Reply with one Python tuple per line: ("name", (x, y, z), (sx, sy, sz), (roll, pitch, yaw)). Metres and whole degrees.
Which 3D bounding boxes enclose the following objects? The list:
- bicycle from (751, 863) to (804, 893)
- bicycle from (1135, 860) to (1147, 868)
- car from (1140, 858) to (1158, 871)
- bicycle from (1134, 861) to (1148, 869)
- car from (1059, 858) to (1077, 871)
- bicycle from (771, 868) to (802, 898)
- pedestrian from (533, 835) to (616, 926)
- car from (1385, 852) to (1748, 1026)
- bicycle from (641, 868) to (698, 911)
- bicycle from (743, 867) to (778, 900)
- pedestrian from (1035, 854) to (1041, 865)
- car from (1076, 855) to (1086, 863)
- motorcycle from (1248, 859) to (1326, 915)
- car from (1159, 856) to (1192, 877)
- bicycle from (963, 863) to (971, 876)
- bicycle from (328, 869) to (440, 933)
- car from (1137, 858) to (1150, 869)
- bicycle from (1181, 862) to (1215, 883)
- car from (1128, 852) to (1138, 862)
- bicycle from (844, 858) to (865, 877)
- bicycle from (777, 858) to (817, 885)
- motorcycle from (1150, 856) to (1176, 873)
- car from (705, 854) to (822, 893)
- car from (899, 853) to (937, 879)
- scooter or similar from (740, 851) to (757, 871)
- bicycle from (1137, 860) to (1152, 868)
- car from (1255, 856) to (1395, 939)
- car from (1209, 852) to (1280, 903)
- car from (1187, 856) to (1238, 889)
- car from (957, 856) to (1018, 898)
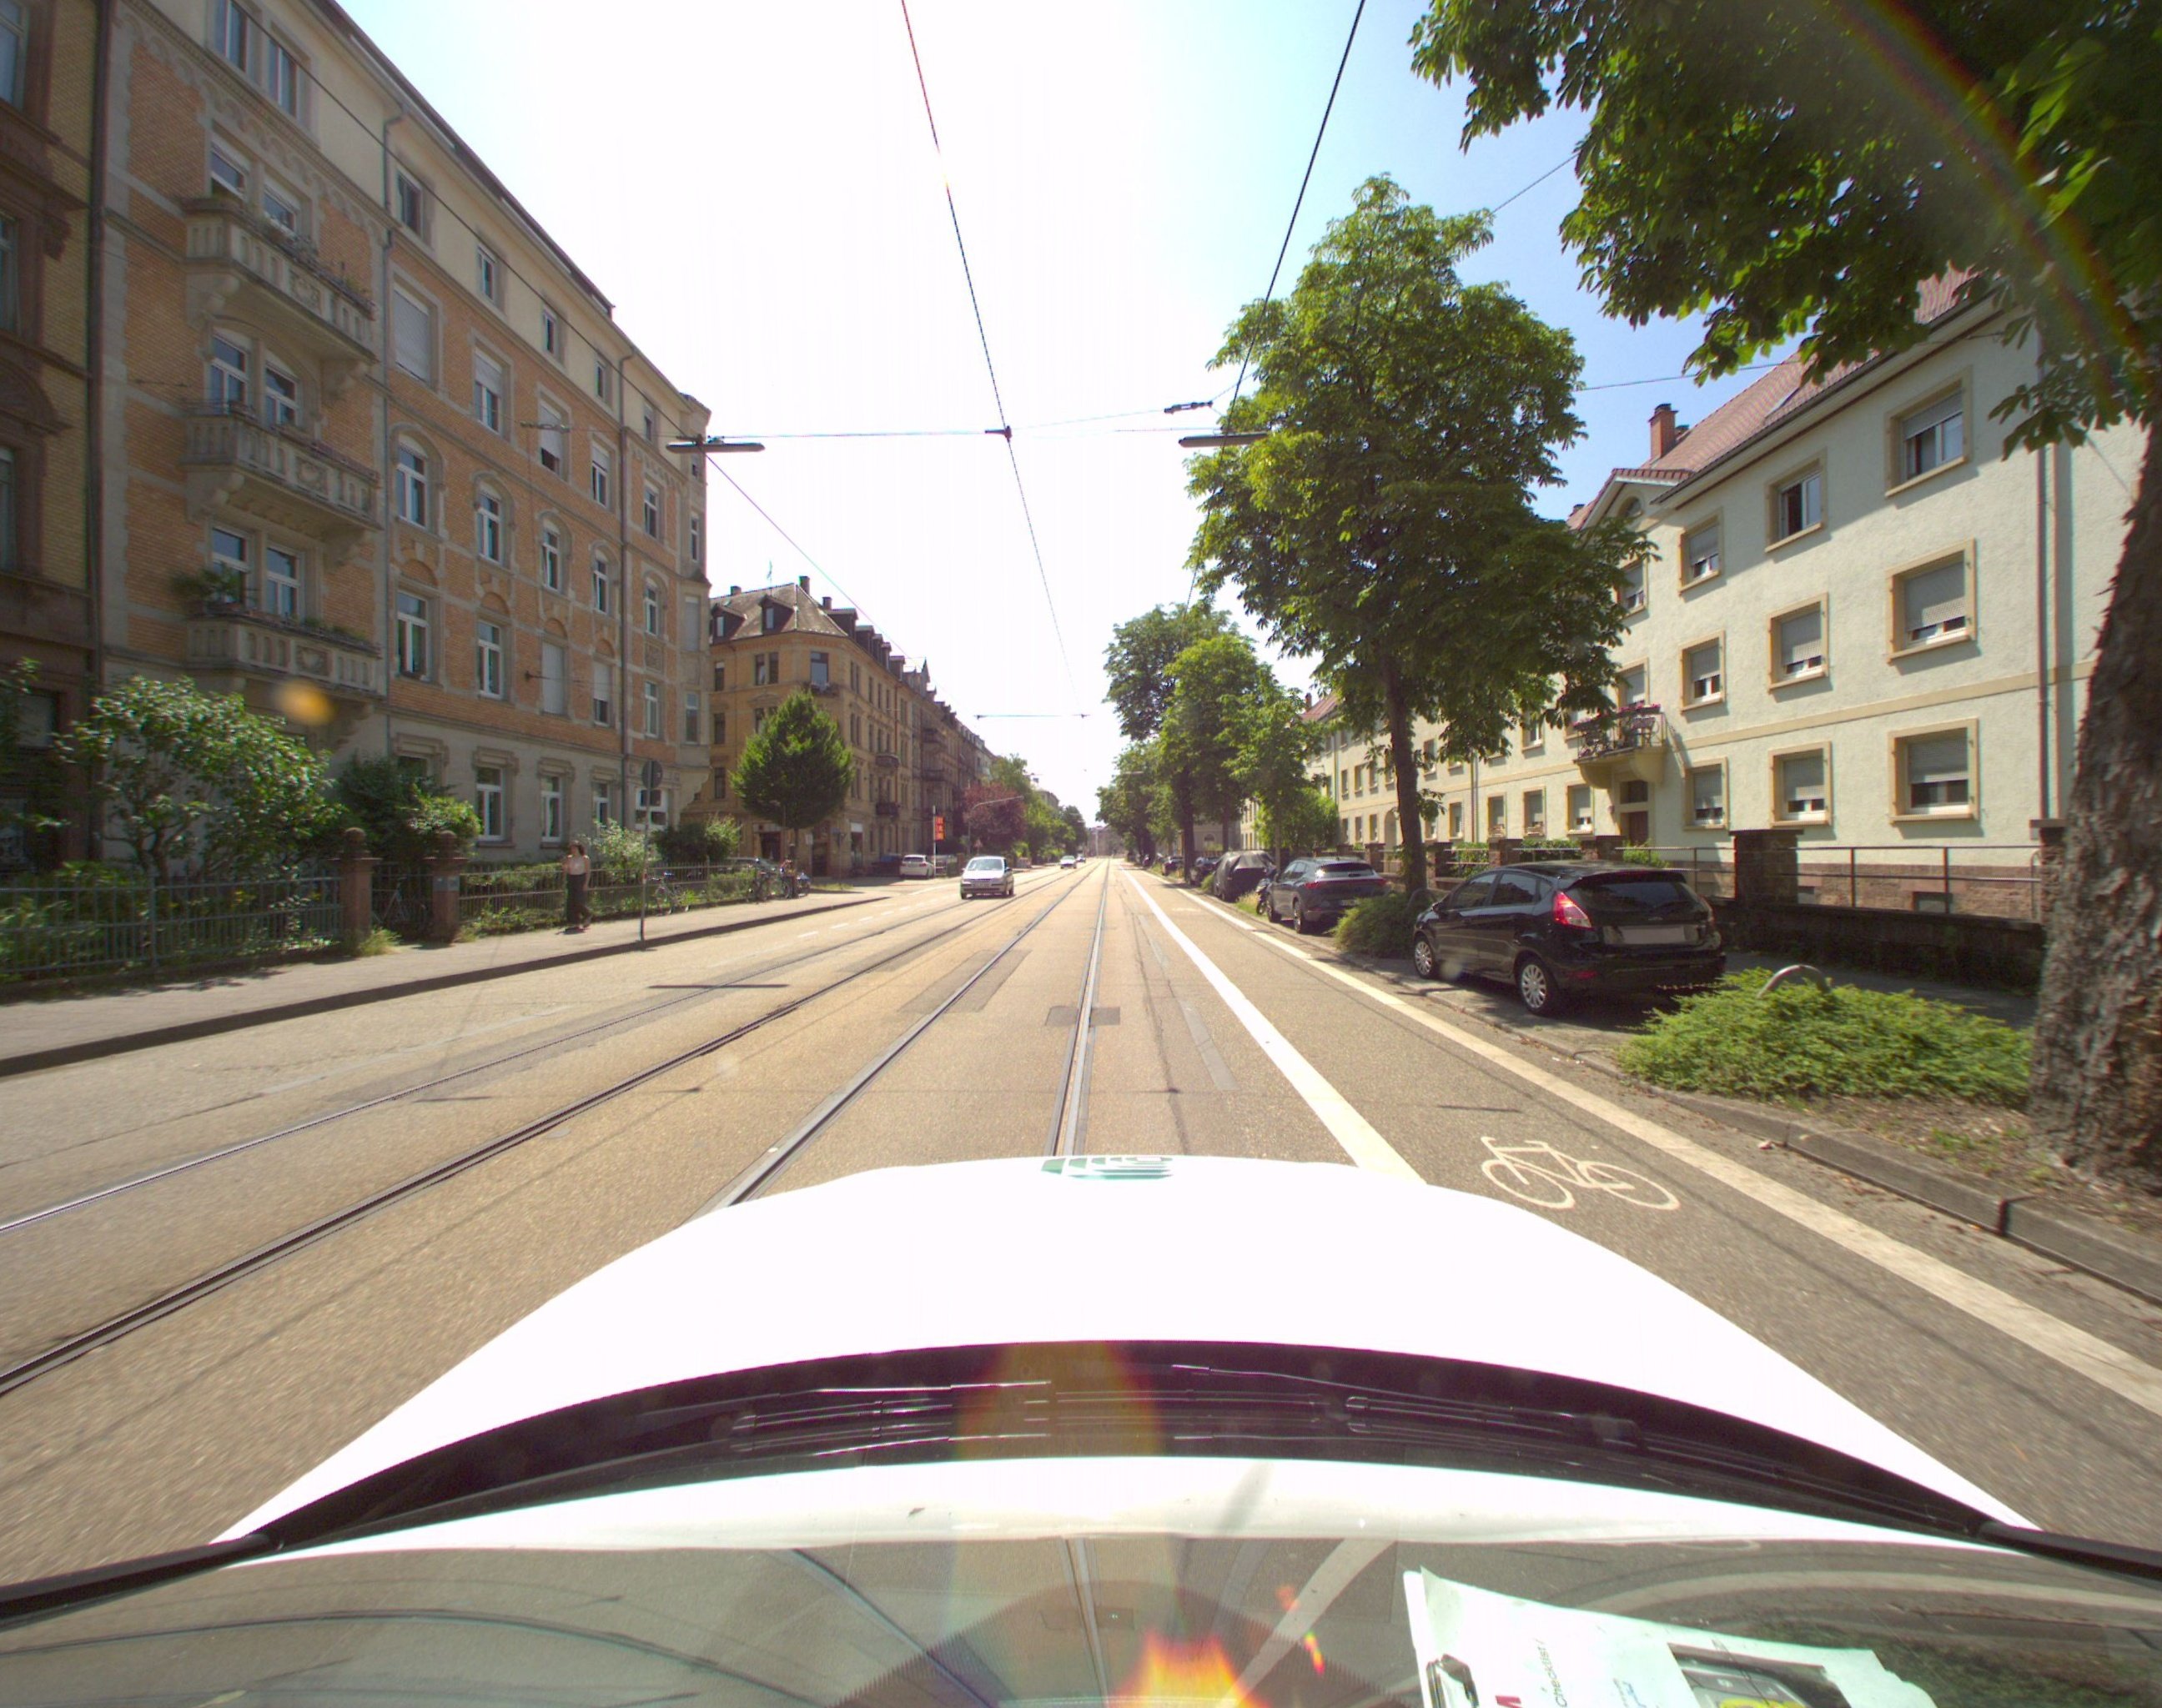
("bicycle", (-10.878, 0.858, 29.161), (1.696, 1.037, 0.552), (0, 0, 6))
("bicycle", (9.067, 1.543, 123.138), (1.809, 1.113, 0.493), (-1, -2, 1))
("car", (7.870, 1.216, 94.908), (1.768, 1.501, 4.306), (-1, 0, 1))
("bicycle", (8.782, 1.538, 118.477), (2.001, 1.113, 0.640), (-1, -2, 4))
("car", (-1.417, 1.143, 91.169), (1.749, 1.424, 4.002), (-1, 0, 2))
("bicycle", (-10.010, 0.975, 27.740), (0.437, 0.983, 1.711), (0, 0, 0))
("pedestrian", (-10.178, 0.518, 16.399), (0.848, 1.723, 1.139), (3, 0, 2))
("car", (4.991, 0.740, 9.111), (1.652, 1.515, 3.998), (0, 0, -1))
("bicycle", (-10.359, 0.864, 20.559), (0.495, 0.987, 1.711), (4, 0, 0))
("bicycle", (-10.095, 0.927, 25.700), (0.437, 0.983, 1.711), (0, 0, 0))
("pedestrian", (-6.240, 0.807, 117.895), (0.749, 1.629, 0.832), (0, -1, -4))
("car", (-0.023, 0.907, 153.601), (1.680, 1.454, 3.750), (0, 0, 2))
("motorcycle", (5.441, 0.854, 21.557), (1.911, 1.433, 0.670), (0, 0, -8))
("car", (6.663, 0.866, 57.797), (1.763, 1.426, 4.860), (0, 0, 0))
("bicycle", (-8.782, 1.183, 62.838), (0.452, 1.003, 1.805), (0, 0, -1))
("bicycle", (-11.805, 0.789, 13.813), (1.503, 1.043, 0.495), (0, 0, 3))
("car", (8.663, 1.272, 113.685), (1.616, 1.448, 3.811), (-3, -1, 2))
("bicycle", (6.201, 0.986, 43.181), (1.650, 1.078, 0.605), (0, 0, -6))
("car", (10.673, 0.580, 167.798), (1.985, 2.035, 4.699), (0, 0, 2))
("bicycle", (-14.838, 0.883, 53.372), (0.635, 1.187, 2.147), (0, 0, 5))
("bicycle", (-13.232, 0.831, 38.029), (0.495, 1.228, 1.861), (-1, -3, 30))
("motorcycle", (7.388, 0.931, 73.366), (2.292, 1.540, 0.874), (0, 0, 45))
("car", (-12.103, 0.751, 31.189), (3.745, 1.428, 1.714), (0, -1, 2))
("car", (-10.709, 0.788, 53.822), (1.861, 1.600, 4.097), (1, 0, -3))
("scooter or similar", (-21.183, 0.443, 51.838), (1.265, 1.273, 0.499), (-1, 0, 43))
("bicycle", (8.485, 1.348, 108.874), (1.879, 1.052, 0.539), (0, -1, 8))
("car", (5.111, 0.831, 17.714), (1.727, 1.552, 4.453), (0, 0, 0))
("car", (5.627, 0.748, 28.571), (1.938, 1.651, 4.886), (0, 0, 5))
("car", (6.148, 0.836, 38.510), (1.689, 1.419, 4.356), (0, 0, 0))
("car", (-3.415, 0.796, 30.361), (1.678, 1.449, 4.001), (-1, 0, 1))
